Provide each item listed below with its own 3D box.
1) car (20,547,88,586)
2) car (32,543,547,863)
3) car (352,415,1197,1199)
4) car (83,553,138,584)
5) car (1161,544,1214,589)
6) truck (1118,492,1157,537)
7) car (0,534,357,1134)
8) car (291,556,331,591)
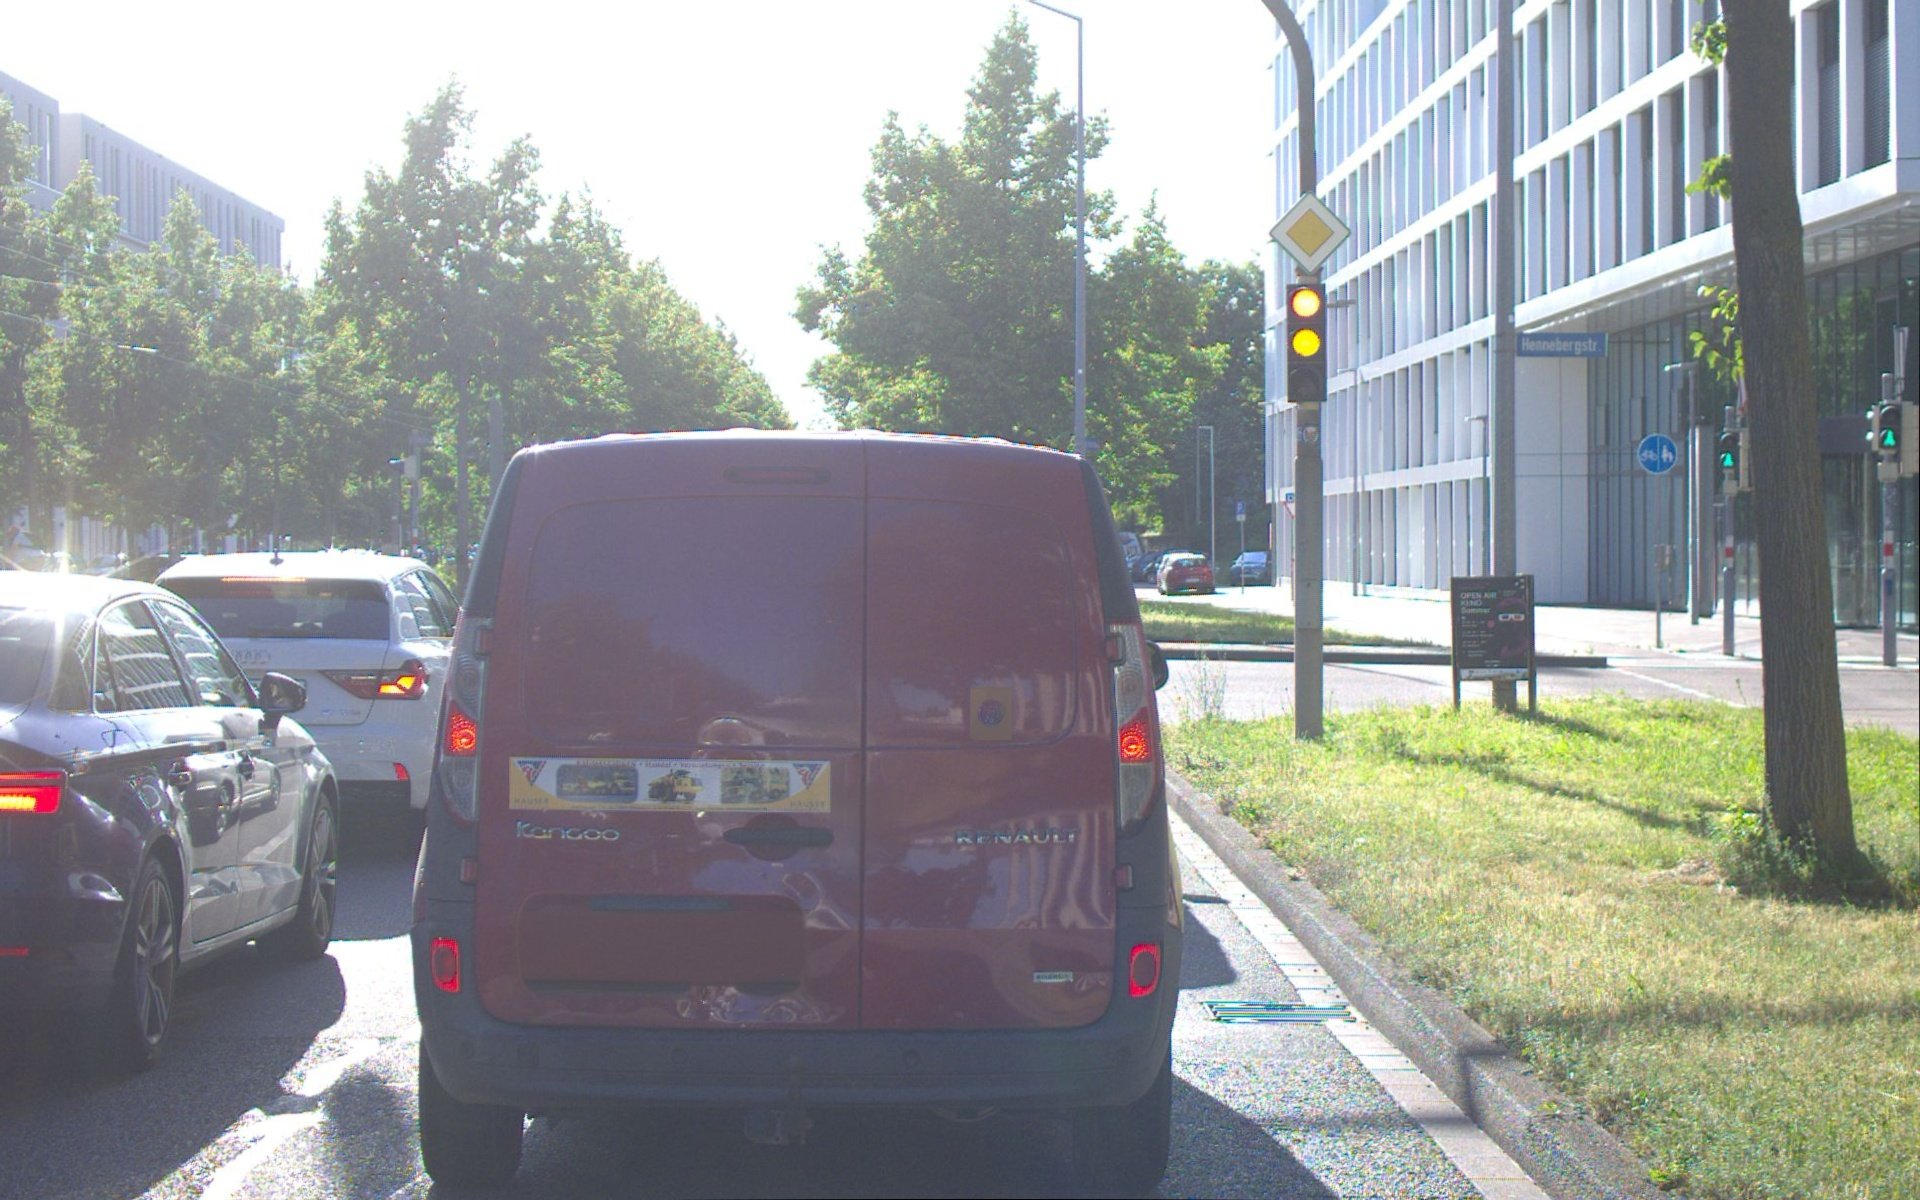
[{"bbox_3d":[-35.978,-1.331,136.559,1.776,1.523,3.806,0,1,-1],"label":"car"},{"bbox_3d":[-3.263,0.427,17.514,1.808,1.430,4.113,0,1,0],"label":"car"},{"bbox_3d":[-0.392,0.460,9.426,1.808,1.788,4.113,0,1,0],"label":"car"},{"bbox_3d":[-36.955,-1.365,149.618,1.580,1.337,3.712,0,1,-1],"label":"car"},{"bbox_3d":[8.455,-1.261,127.876,1.758,1.606,3.903,0,1,1],"label":"car"},{"bbox_3d":[10.249,-4.922,198.880,1.831,2.492,5.933,0,1,-1],"label":"truck"},{"bbox_3d":[-3.161,0.554,10.768,1.808,1.522,4.113,0,1,0],"label":"car"},{"bbox_3d":[-37.594,-1.540,199.265,1.728,2.007,4.001,0,1,-3],"label":"car"}]
